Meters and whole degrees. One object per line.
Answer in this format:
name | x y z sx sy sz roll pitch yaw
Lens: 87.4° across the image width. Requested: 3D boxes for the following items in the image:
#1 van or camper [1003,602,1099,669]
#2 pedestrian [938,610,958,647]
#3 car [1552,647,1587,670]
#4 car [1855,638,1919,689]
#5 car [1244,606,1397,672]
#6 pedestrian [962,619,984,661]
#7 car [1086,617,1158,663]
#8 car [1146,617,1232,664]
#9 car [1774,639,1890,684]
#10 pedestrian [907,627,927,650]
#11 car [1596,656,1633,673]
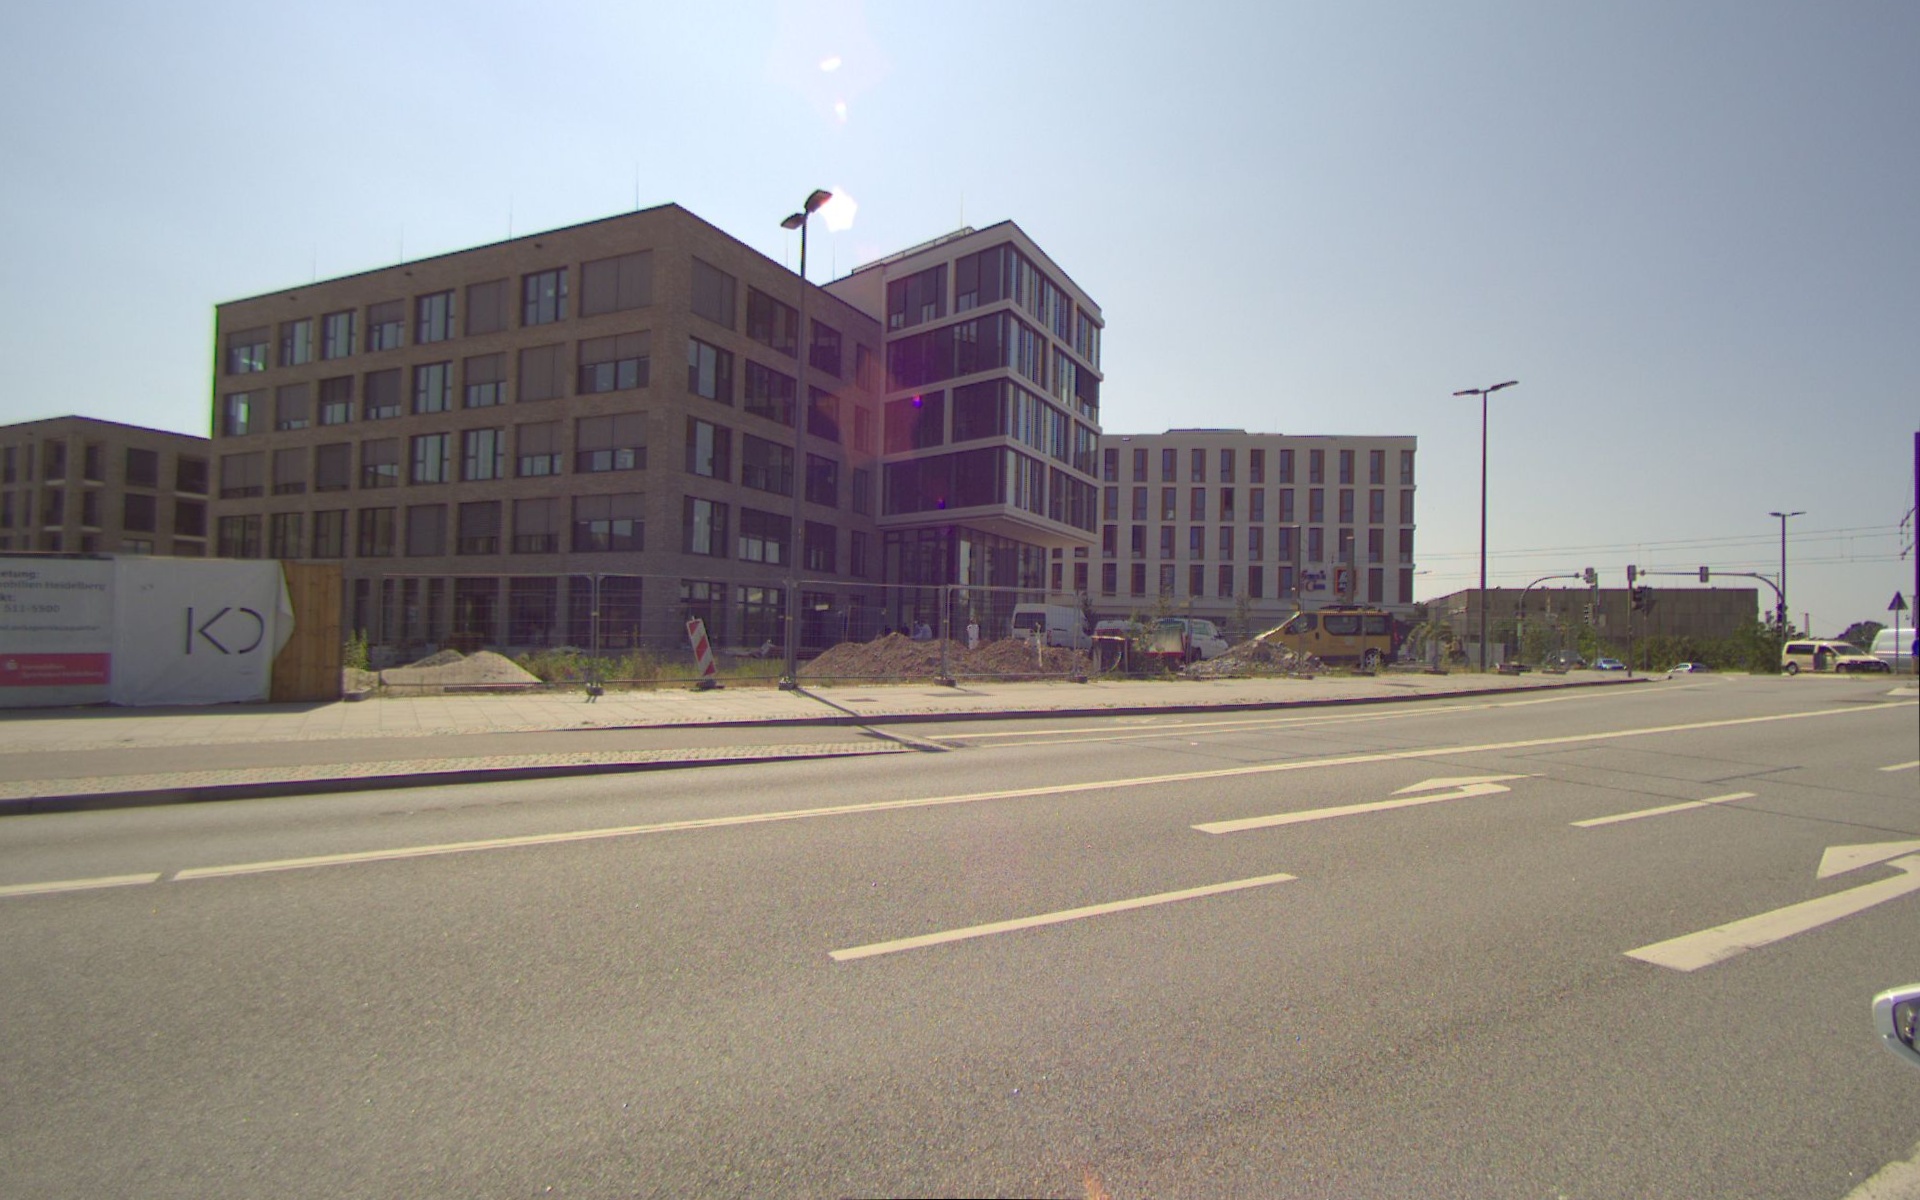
van or camper | 4.170 1.538 45.145 2.273 2.772 4.975 2 0 32
pedestrian | -0.587 1.377 49.007 0.734 1.741 0.699 2 0 16
car | 44.361 4.226 73.161 1.646 1.496 3.405 0 -1 22
car | 48.547 3.233 50.730 1.751 2.407 5.009 2 -1 -9
car | 12.014 1.281 33.761 4.533 1.988 1.991 2 0 9
pedestrian | 0.560 1.680 42.442 0.734 1.741 0.699 2 0 16
car | 7.083 1.701 43.699 1.759 1.881 3.842 2 0 31
car | 9.676 1.675 42.194 1.841 1.797 4.637 2 0 36
car | 45.736 3.205 52.831 1.961 2.040 4.717 2 0 -1
pedestrian | -2.044 1.826 47.496 0.734 1.041 0.699 2 0 16
car | 57.414 5.640 88.140 1.787 1.348 4.001 2 -2 20
